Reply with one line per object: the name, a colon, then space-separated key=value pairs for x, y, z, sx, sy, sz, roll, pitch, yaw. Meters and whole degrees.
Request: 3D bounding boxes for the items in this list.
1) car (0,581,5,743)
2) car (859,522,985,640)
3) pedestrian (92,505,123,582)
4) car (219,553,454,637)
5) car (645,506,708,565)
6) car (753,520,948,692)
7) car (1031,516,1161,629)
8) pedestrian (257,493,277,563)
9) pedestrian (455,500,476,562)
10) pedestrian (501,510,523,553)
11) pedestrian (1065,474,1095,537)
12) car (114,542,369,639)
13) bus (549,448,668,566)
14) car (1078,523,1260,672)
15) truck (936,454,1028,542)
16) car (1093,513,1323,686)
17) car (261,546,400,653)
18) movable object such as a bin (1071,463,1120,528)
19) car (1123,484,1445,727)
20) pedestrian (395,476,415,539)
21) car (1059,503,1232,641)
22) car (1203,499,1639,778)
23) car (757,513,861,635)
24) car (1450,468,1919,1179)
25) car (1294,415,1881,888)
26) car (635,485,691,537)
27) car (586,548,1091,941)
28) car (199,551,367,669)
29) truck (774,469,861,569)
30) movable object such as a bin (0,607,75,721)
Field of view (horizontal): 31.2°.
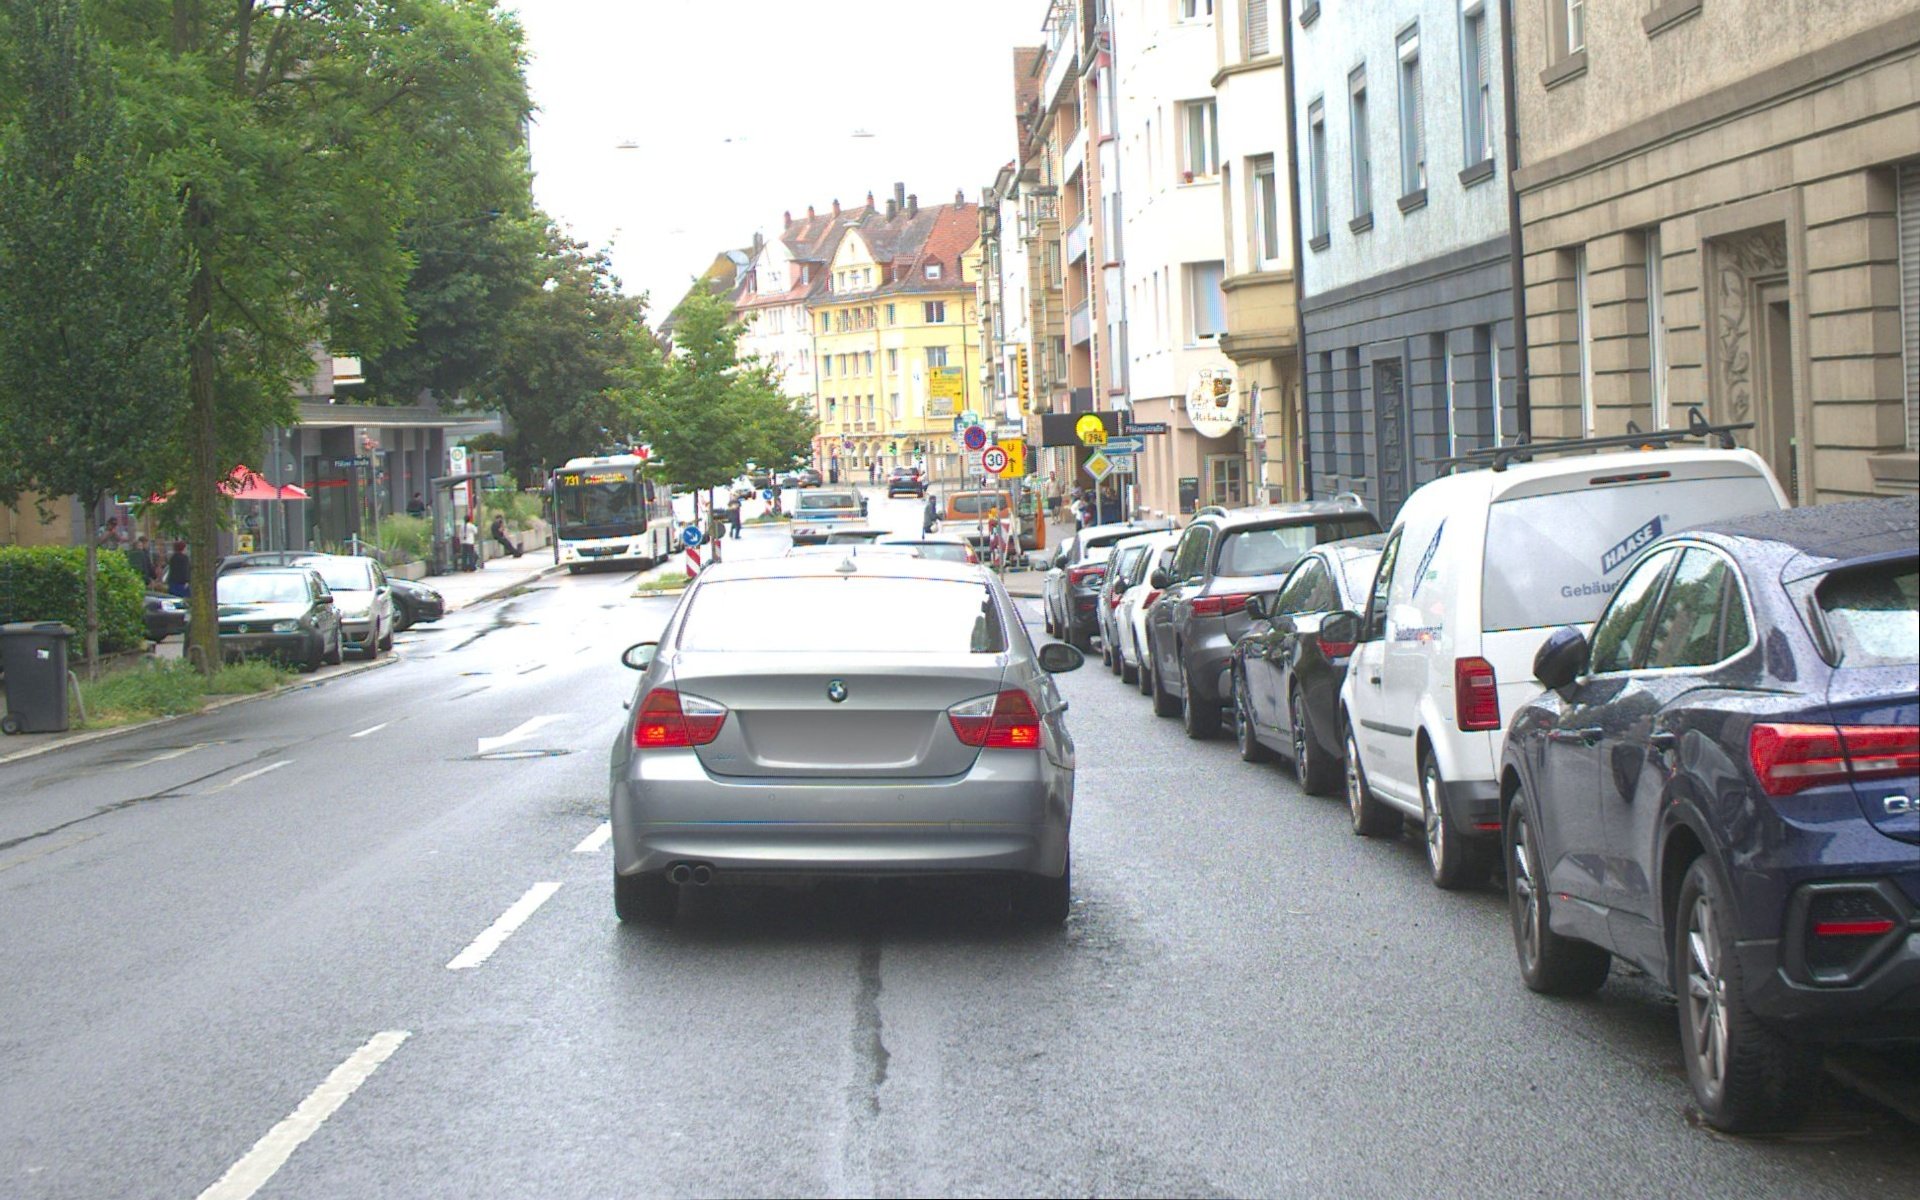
car: x=-9.065 y=0.593 z=27.648 sx=1.682 sy=1.385 sz=3.936 roll=-1 pitch=1 yaw=-1
car: x=-0.430 y=-0.230 z=41.653 sx=1.435 sy=1.352 sz=3.762 roll=1 pitch=0 yaw=0
pedestrian: x=-20.437 y=-1.353 z=82.424 sx=0.633 sy=1.809 sz=0.638 roll=-3 pitch=2 yaw=-13
car: x=-10.918 y=-0.101 z=60.348 sx=3.815 sy=1.385 sz=1.743 roll=-1 pitch=0 yaw=-2
car: x=-9.955 y=-2.242 z=120.869 sx=1.993 sy=2.007 sz=4.000 roll=1 pitch=0 yaw=-2
car: x=-1.005 y=0.036 z=30.183 sx=1.601 sy=1.415 sz=3.288 roll=0 pitch=0 yaw=-3
car: x=1.927 y=-0.430 z=49.663 sx=1.569 sy=1.459 sz=4.089 roll=-4 pitch=1 yaw=-1
pedestrian: x=-17.840 y=-1.854 z=88.507 sx=0.464 sy=1.783 sz=0.545 roll=0 pitch=0 yaw=-8
pedestrian: x=-13.659 y=-1.901 z=94.911 sx=0.542 sy=1.703 sz=0.466 roll=0 pitch=0 yaw=-7
pedestrian: x=-14.404 y=-2.186 z=110.517 sx=0.619 sy=1.373 sz=0.544 roll=1 pitch=0 yaw=0
pedestrian: x=3.175 y=-2.511 z=91.242 sx=0.752 sy=1.655 sz=0.752 roll=1 pitch=0 yaw=0
car: x=-11.967 y=-0.165 z=57.414 sx=3.816 sy=1.385 sz=1.743 roll=-2 pitch=3 yaw=2
bus: x=-10.204 y=-2.624 z=100.749 sx=2.681 sy=3.189 sz=11.957 roll=0 pitch=0 yaw=-2
car: x=2.257 y=-0.066 z=37.811 sx=1.583 sy=1.424 sz=3.595 roll=-5 pitch=2 yaw=-1
truck: x=0.527 y=-2.567 z=87.376 sx=2.215 sy=2.109 sz=4.652 roll=2 pitch=1 yaw=0
car: x=2.337 y=-0.057 z=33.271 sx=1.729 sy=1.424 sz=3.974 roll=-5 pitch=2 yaw=-1
car: x=-9.366 y=-0.034 z=51.344 sx=1.631 sy=1.449 sz=3.840 roll=-2 pitch=1 yaw=-5
movable object such as a bin: x=3.735 y=-2.860 z=94.639 sx=1.122 sy=1.697 sz=1.434 roll=-3 pitch=1 yaw=-3
car: x=2.403 y=0.004 z=26.531 sx=1.840 sy=1.615 sz=4.209 roll=-4 pitch=1 yaw=-2
pedestrian: x=-15.813 y=-2.629 z=97.927 sx=0.542 sy=1.783 sz=0.508 roll=0 pitch=0 yaw=-10
car: x=2.316 y=-0.388 z=43.910 sx=1.818 sy=1.552 sz=4.293 roll=-4 pitch=1 yaw=-1
car: x=2.705 y=0.166 z=21.198 sx=1.840 sy=1.404 sz=4.388 roll=-4 pitch=1 yaw=-2
car: x=-2.617 y=-0.450 z=59.042 sx=1.705 sy=2.007 sz=4.001 roll=0 pitch=0 yaw=-3
car: x=2.662 y=0.415 z=9.813 sx=1.790 sy=1.543 sz=4.226 roll=-4 pitch=2 yaw=0
car: x=2.756 y=0.159 z=16.027 sx=1.790 sy=1.811 sz=4.080 roll=-4 pitch=1 yaw=-1
car: x=-11.812 y=-3.526 z=136.958 sx=1.993 sy=2.007 sz=4.000 roll=0 pitch=0 yaw=-2
car: x=-0.461 y=0.496 z=13.671 sx=1.756 sy=1.358 sz=3.165 roll=-1 pitch=0 yaw=-1
car: x=-9.220 y=0.102 z=47.061 sx=1.653 sy=1.449 sz=3.943 roll=-2 pitch=1 yaw=-3
truck: x=-3.734 y=-2.085 z=90.426 sx=2.216 sy=2.535 sz=4.780 roll=0 pitch=0 yaw=-2
movable object such as a bin: x=-8.864 y=0.609 z=32.843 sx=0.630 sy=1.054 sz=0.600 roll=-3 pitch=0 yaw=-1
